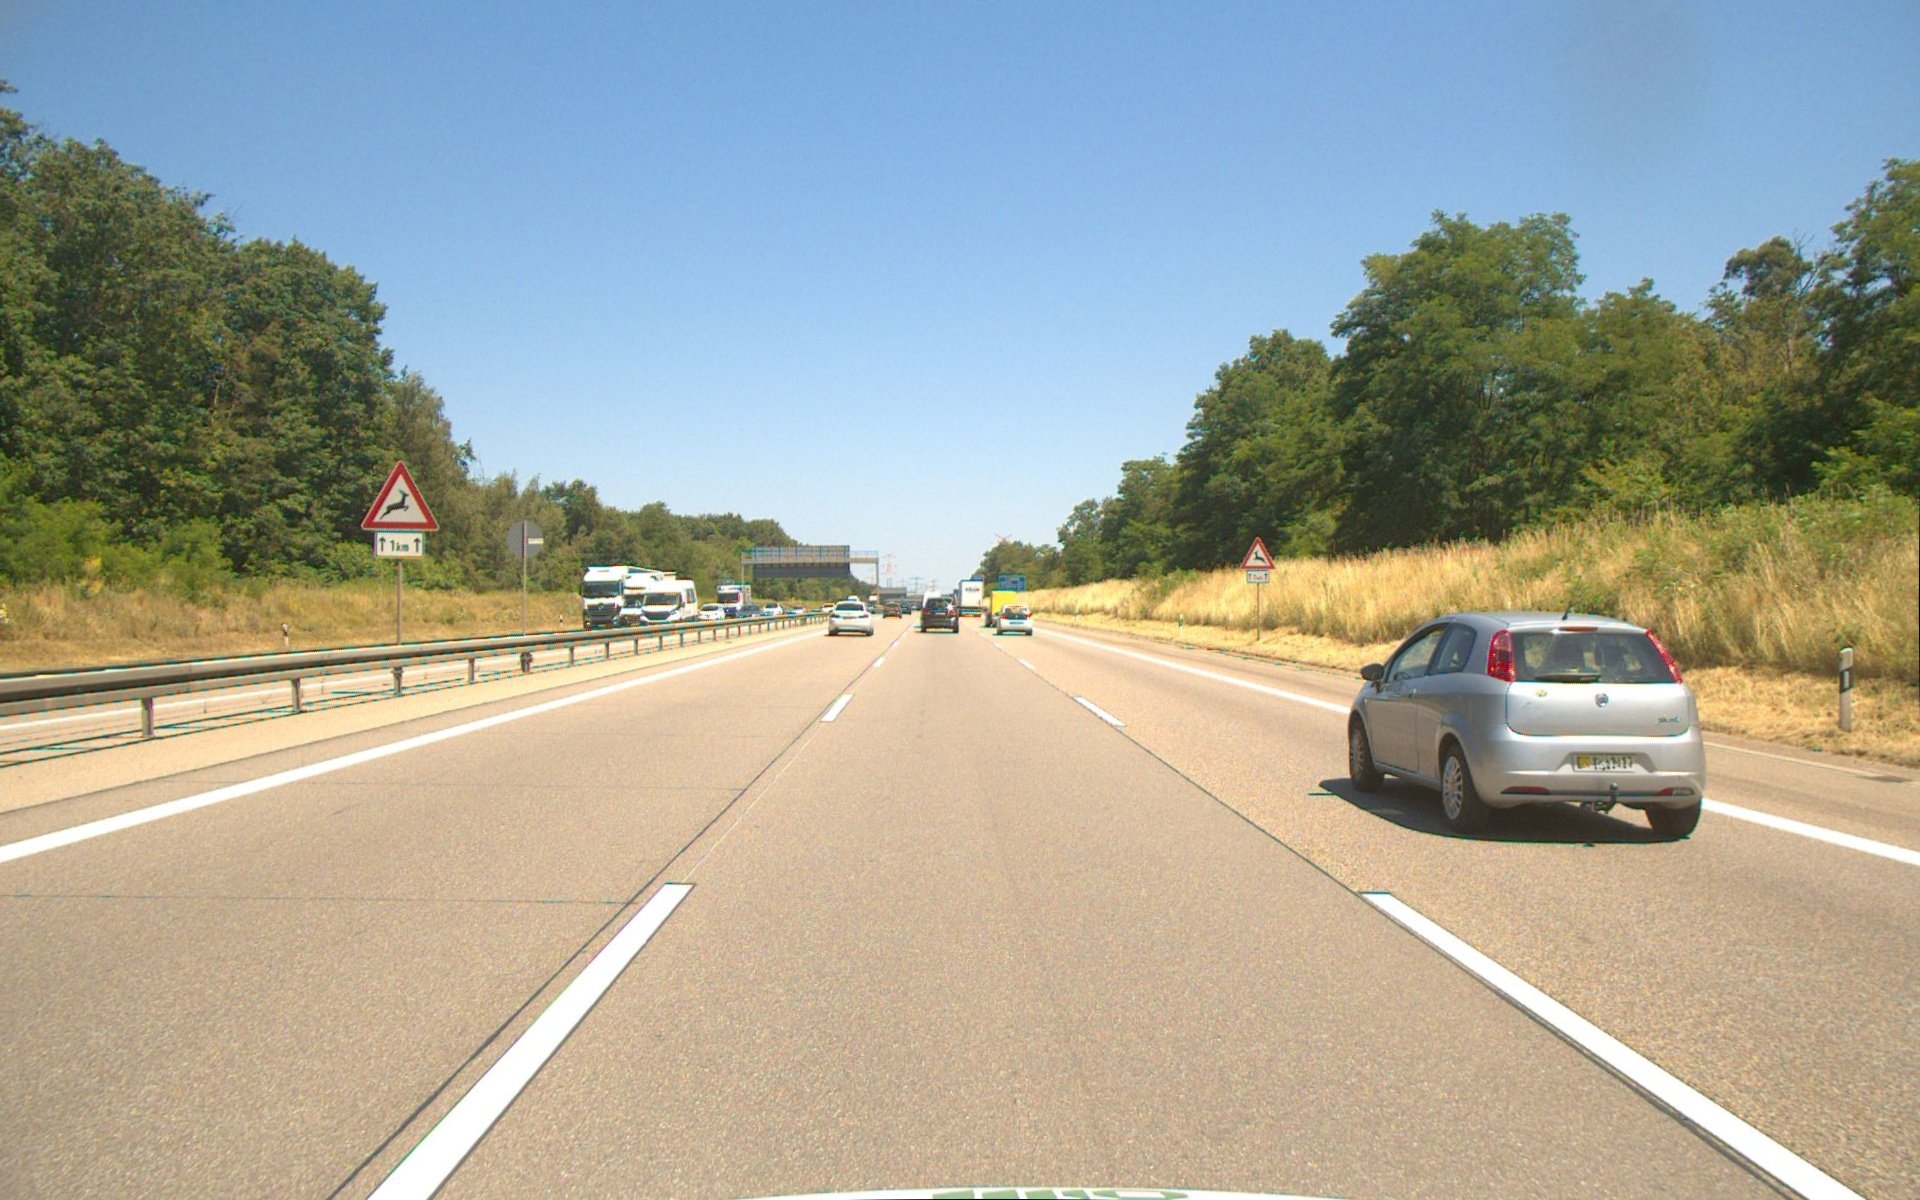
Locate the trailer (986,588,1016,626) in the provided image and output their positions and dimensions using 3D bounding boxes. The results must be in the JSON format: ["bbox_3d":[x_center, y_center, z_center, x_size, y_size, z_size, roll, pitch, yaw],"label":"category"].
[{"bbox_3d":[2.555,0.425,104.035,1.669,2.330,3.838,1,0,-2],"label":"trailer"}]

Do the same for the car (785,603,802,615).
[{"bbox_3d":[-21.262,1.118,211.292,1.726,1.432,4.351,-3,0,-2],"label":"car"}]

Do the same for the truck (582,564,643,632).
[{"bbox_3d":[-21.943,-0.120,104.749,2.455,4.084,6.123,-3,0,-1],"label":"truck"}]

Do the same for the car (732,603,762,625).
[{"bbox_3d":[-14.938,0.999,116.078,1.572,1.423,4.542,-3,0,-2],"label":"car"}]

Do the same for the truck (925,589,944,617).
[{"bbox_3d":[-2.810,0.359,182.239,2.018,2.965,7.001,0,-1,-1],"label":"truck"}]

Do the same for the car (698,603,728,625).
[{"bbox_3d":[-18.545,1.041,124.441,1.572,1.586,4.468,-3,0,-1],"label":"car"}]

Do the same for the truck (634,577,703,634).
[{"bbox_3d":[-14.816,0.288,84.492,2.040,2.668,8.030,-3,0,0],"label":"truck"}]

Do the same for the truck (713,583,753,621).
[{"bbox_3d":[-23.064,0.212,168.588,2.677,3.580,10.438,-3,0,-1],"label":"truck"}]

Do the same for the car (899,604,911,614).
[{"bbox_3d":[-6.874,1.147,206.419,1.377,1.151,3.357,1,0,-1],"label":"car"}]

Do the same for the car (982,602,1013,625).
[{"bbox_3d":[2.446,0.887,108.358,1.784,1.481,4.786,1,0,-2],"label":"car"}]

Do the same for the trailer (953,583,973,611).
[{"bbox_3d":[0.349,-0.429,245.183,2.628,3.904,12.006,1,-1,-1],"label":"trailer"}]

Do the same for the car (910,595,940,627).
[{"bbox_3d":[-2.137,0.676,100.445,1.777,1.859,5.109,0,-1,-1],"label":"car"}]

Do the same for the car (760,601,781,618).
[{"bbox_3d":[-19.586,0.972,171.002,1.692,1.675,5.086,-3,0,-2],"label":"car"}]

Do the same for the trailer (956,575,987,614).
[{"bbox_3d":[1.277,-0.519,193.139,3.219,4.293,13.560,1,-1,-1],"label":"trailer"}]

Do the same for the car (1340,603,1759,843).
[{"bbox_3d":[4.191,0.788,12.469,1.709,1.491,3.980,1,0,0],"label":"car"}]

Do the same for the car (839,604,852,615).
[{"bbox_3d":[-17.311,1.445,249.579,1.726,1.485,5.119,-3,0,-2],"label":"car"}]

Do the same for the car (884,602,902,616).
[{"bbox_3d":[-6.338,0.861,156.723,1.574,1.323,3.673,1,0,-1],"label":"car"}]

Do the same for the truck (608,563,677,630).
[{"bbox_3d":[-18.611,-0.204,97.434,2.407,3.669,8.118,-3,0,-1],"label":"truck"}]

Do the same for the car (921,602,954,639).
[{"bbox_3d":[-1.117,1.014,83.199,1.593,1.785,3.803,1,0,-1],"label":"car"}]

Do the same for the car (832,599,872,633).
[{"bbox_3d":[-4.646,0.683,71.395,1.635,1.426,3.711,0,0,-2],"label":"car"}]

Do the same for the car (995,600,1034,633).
[{"bbox_3d":[2.580,0.794,79.693,1.673,1.521,4.023,1,0,-1],"label":"car"}]
